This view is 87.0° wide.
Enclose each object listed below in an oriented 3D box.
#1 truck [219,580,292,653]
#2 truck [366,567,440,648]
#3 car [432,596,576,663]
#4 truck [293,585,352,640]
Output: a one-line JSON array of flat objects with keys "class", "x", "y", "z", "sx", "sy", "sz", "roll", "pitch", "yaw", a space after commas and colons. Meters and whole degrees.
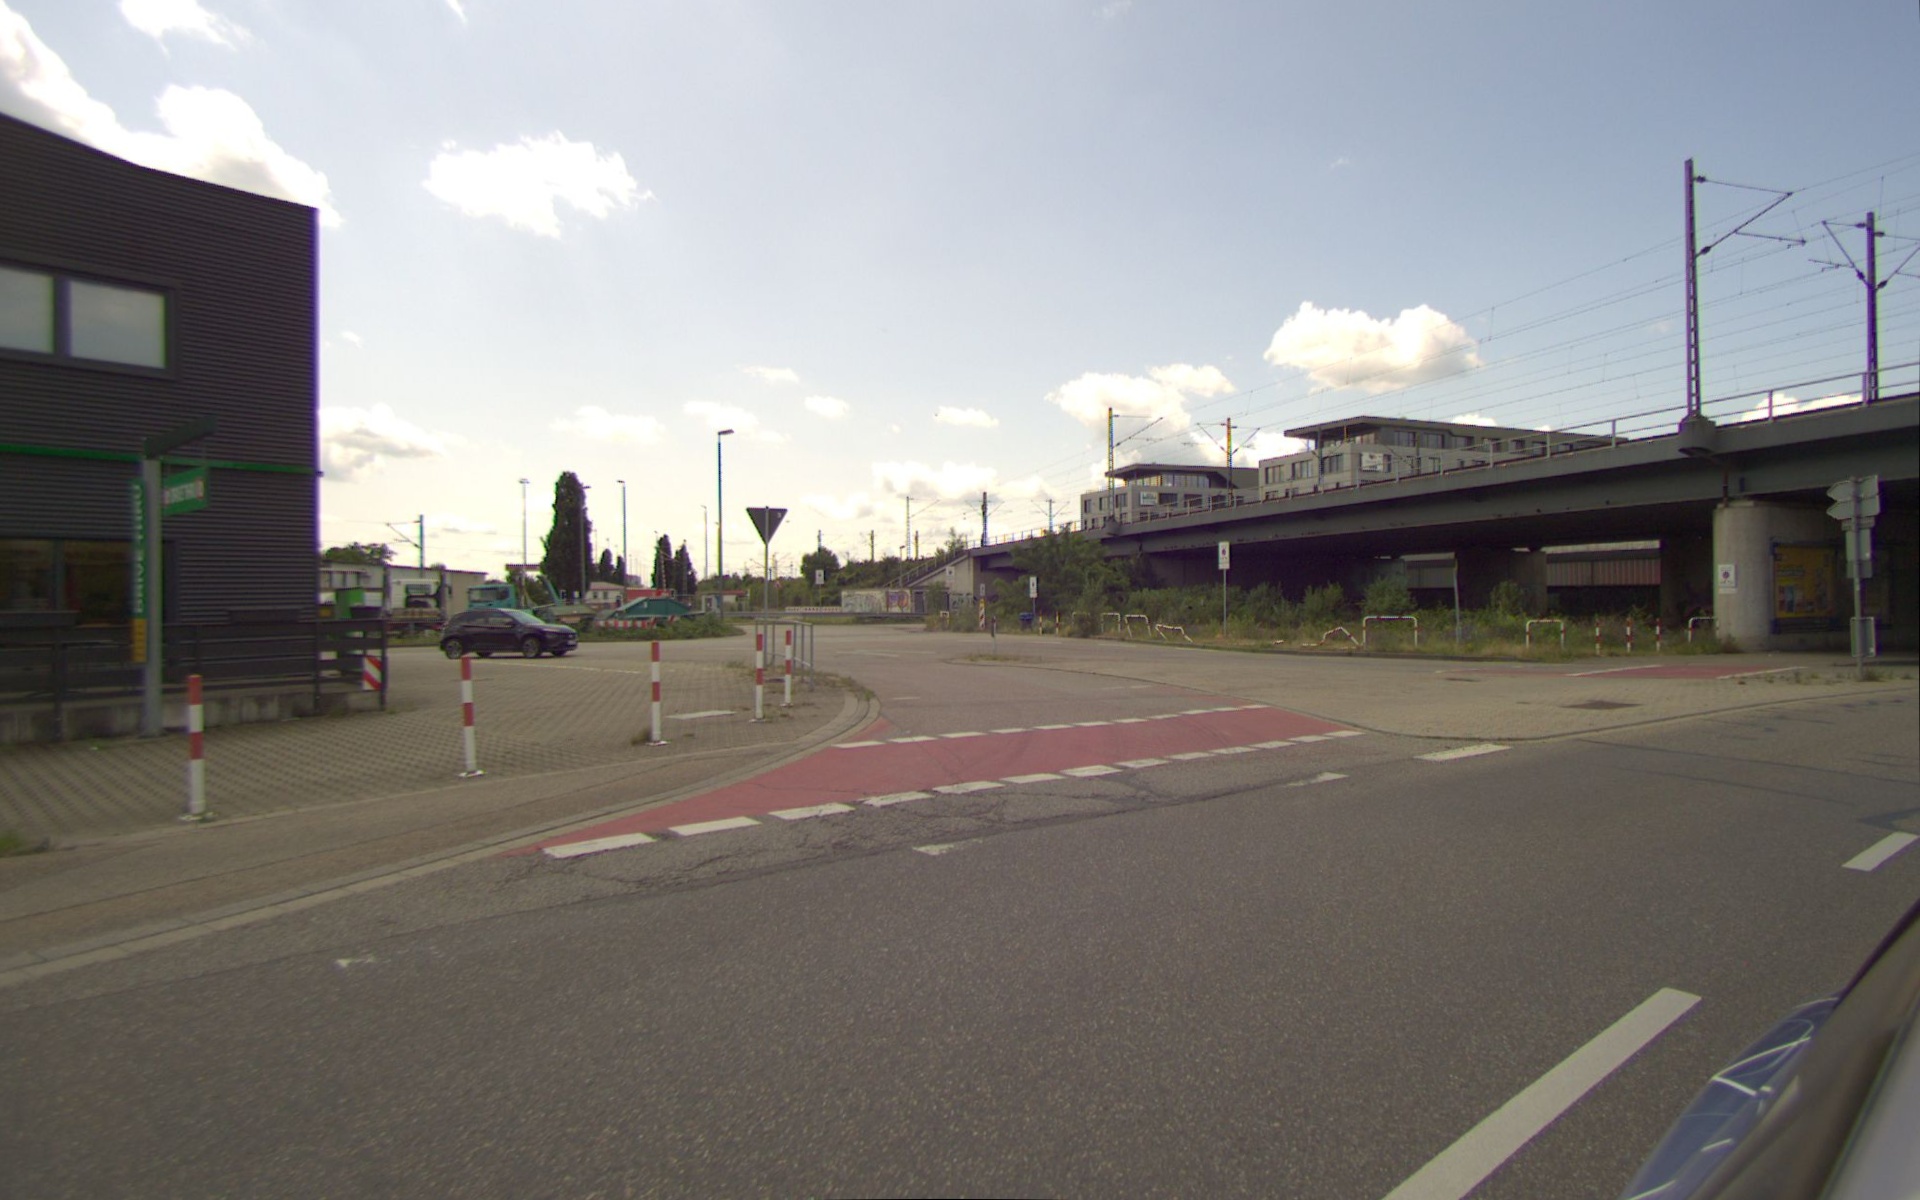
[{"class": "truck", "x": -28.537, "y": 0.677, "z": 41.108, "sx": 2.076, "sy": 2.749, "sz": 4.341, "roll": -1, "pitch": -1, "yaw": -31}, {"class": "truck", "x": -24.626, "y": 0.415, "z": 44.718, "sx": 2.657, "sy": 3.298, "sz": 5.937, "roll": -1, "pitch": -2, "yaw": -30}, {"class": "car", "x": -14.311, "y": 0.913, "z": 31.835, "sx": 3.816, "sy": 2.039, "sz": 1.750, "roll": 0, "pitch": 0, "yaw": 8}, {"class": "truck", "x": -26.469, "y": 0.543, "z": 42.149, "sx": 1.940, "sy": 2.110, "sz": 4.341, "roll": -1, "pitch": -1, "yaw": -31}]
